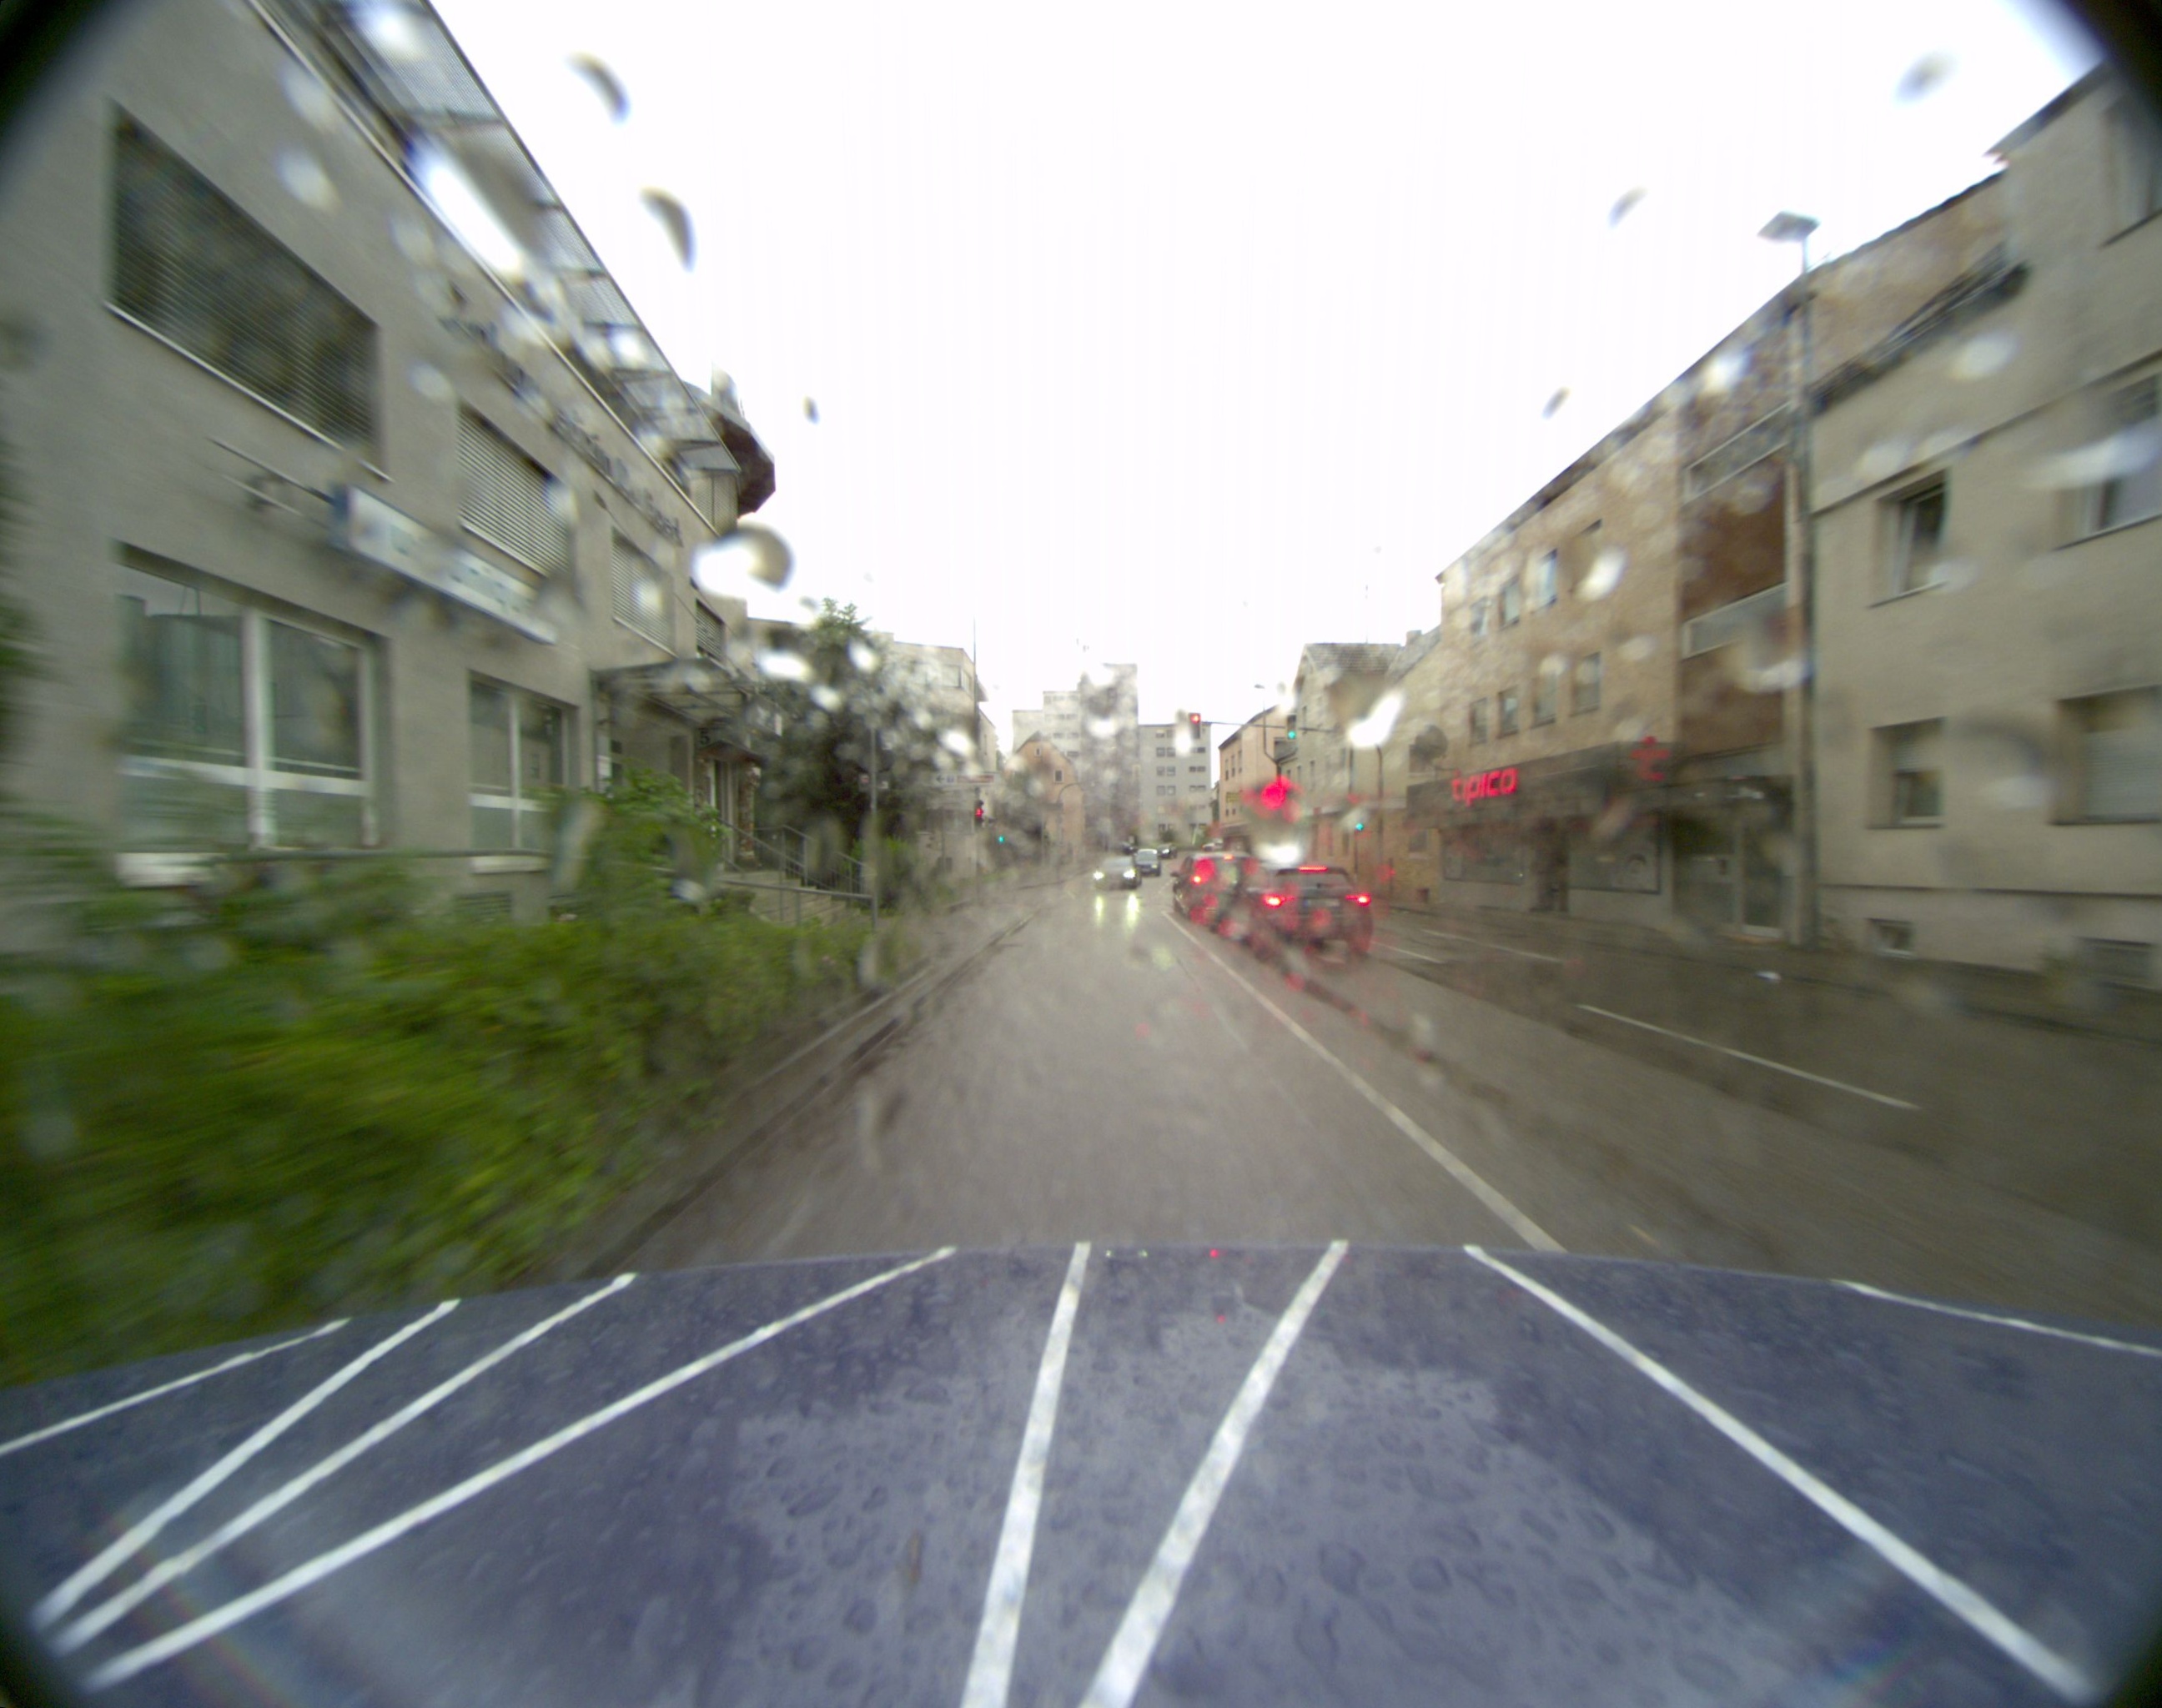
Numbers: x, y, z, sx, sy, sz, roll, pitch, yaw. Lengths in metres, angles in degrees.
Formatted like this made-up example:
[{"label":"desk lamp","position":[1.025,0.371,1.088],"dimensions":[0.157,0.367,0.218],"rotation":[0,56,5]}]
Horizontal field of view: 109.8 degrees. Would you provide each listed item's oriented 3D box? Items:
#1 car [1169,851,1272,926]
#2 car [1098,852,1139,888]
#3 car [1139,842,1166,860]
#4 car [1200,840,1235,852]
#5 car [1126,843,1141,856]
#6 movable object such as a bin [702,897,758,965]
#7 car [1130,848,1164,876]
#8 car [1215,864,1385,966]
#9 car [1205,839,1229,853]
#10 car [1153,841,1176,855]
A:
[{"label":"car","position":[3.364,0.793,19.128],"dimensions":[1.820,1.635,4.276],"rotation":[-1,0,0]},{"label":"car","position":[1.716,0.734,35.999],"dimensions":[1.820,1.562,4.276],"rotation":[-1,0,1]},{"label":"car","position":[5.829,-0.236,61.881],"dimensions":[1.685,1.413,4.004],"rotation":[-1,0,12]},{"label":"car","position":[17.115,-0.983,95.028],"dimensions":[4.003,1.452,1.685],"rotation":[-1,0,-19]},{"label":"car","position":[6.141,-0.509,89.115],"dimensions":[1.686,1.452,4.000],"rotation":[-1,0,2]},{"label":"movable object such as a bin","position":[-4.796,1.044,10.401],"dimensions":[0.482,0.903,0.492],"rotation":[-1,-3,12]},{"label":"car","position":[4.067,0.479,47.183],"dimensions":[1.998,1.652,4.001],"rotation":[-1,0,4]},{"label":"car","position":[3.462,0.899,12.698],"dimensions":[1.711,1.375,3.669],"rotation":[-1,0,-1]},{"label":"car","position":[15.710,-0.939,87.652],"dimensions":[1.959,1.527,4.005],"rotation":[-1,2,20]},{"label":"car","position":[8.884,-0.612,80.853],"dimensions":[1.684,1.452,4.005],"rotation":[-1,0,17]}]
